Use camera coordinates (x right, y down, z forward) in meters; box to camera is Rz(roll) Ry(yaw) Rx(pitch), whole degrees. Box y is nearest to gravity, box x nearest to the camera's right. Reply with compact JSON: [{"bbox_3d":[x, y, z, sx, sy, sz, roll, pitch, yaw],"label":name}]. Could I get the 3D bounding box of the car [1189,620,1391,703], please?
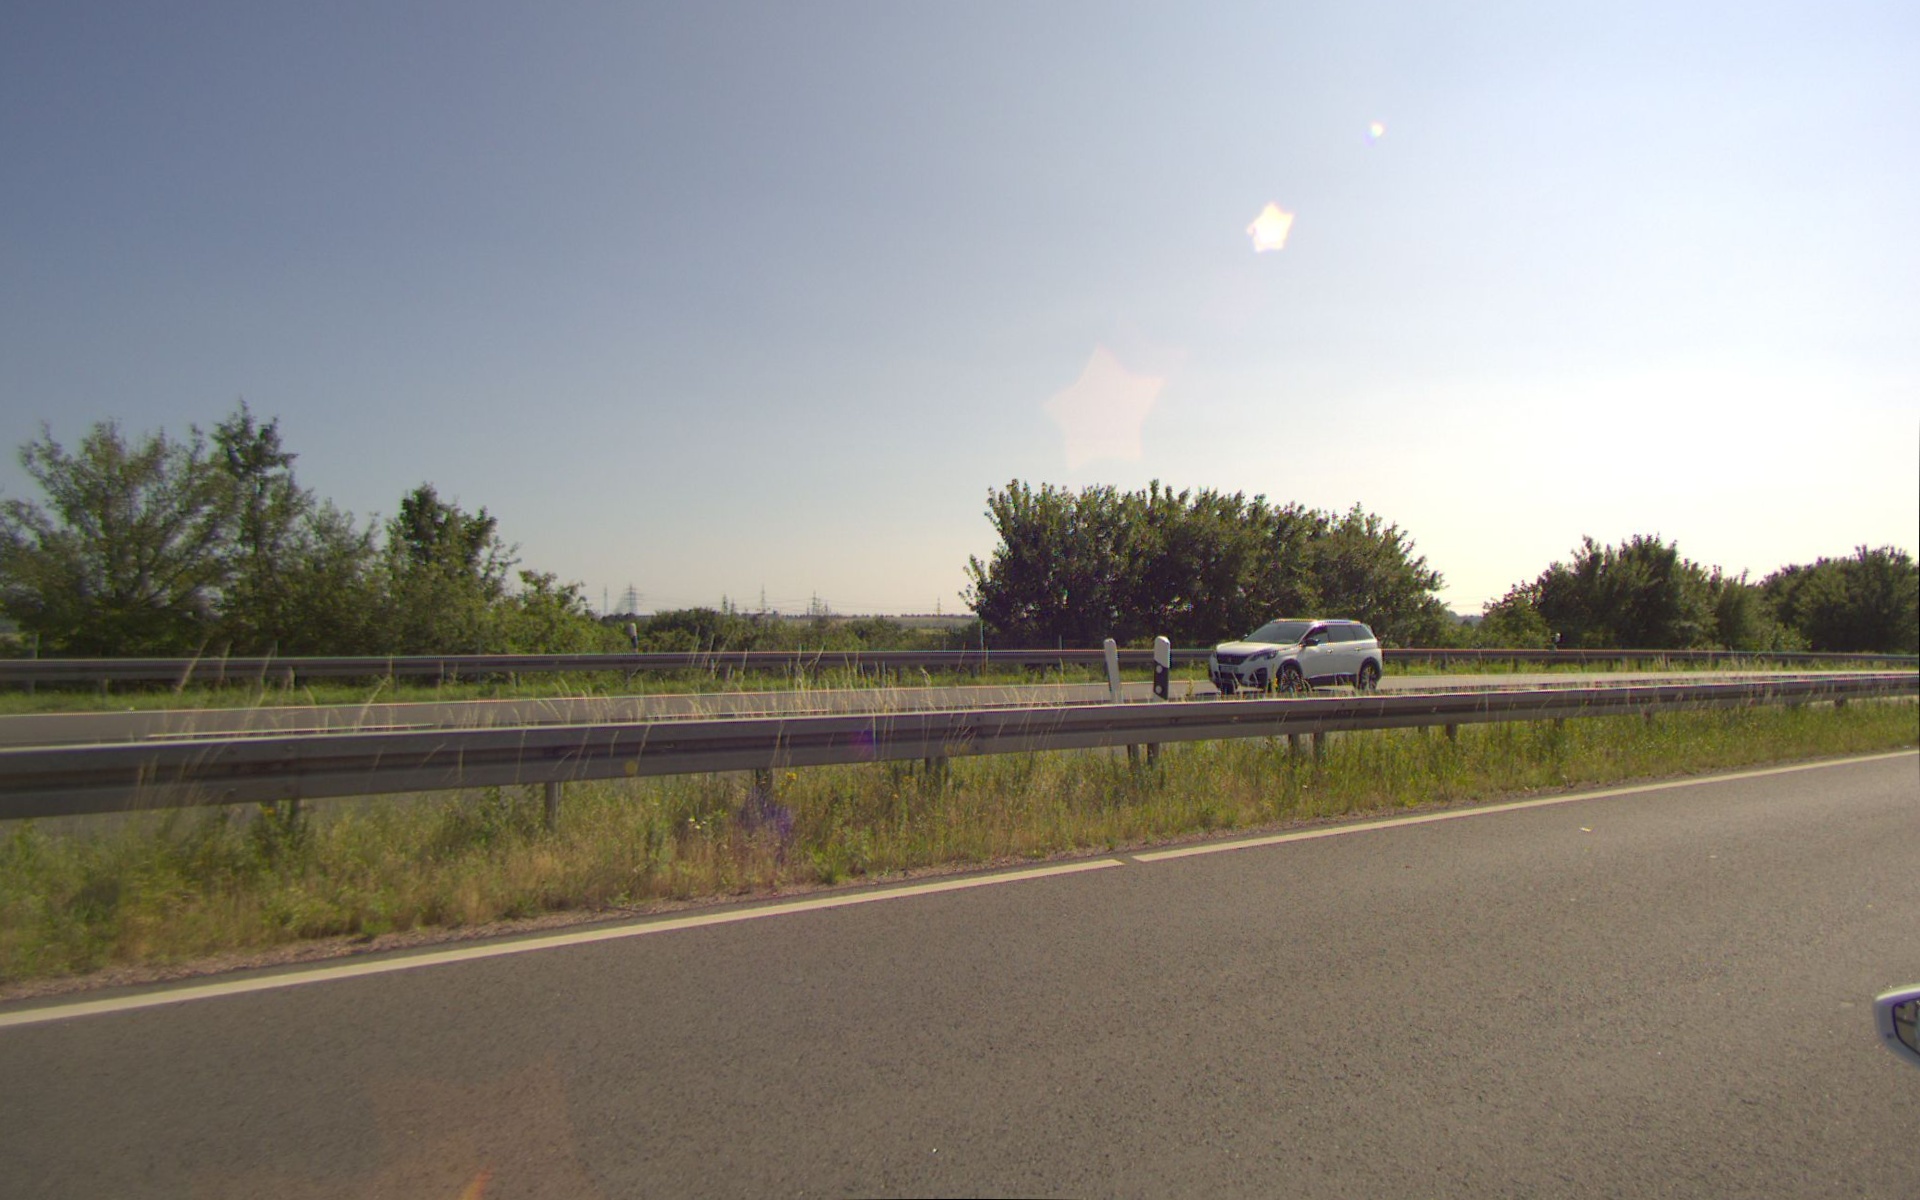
[{"bbox_3d":[7.417,1.306,22.423,4.581,1.642,1.890,1,0,-34],"label":"car"}]
